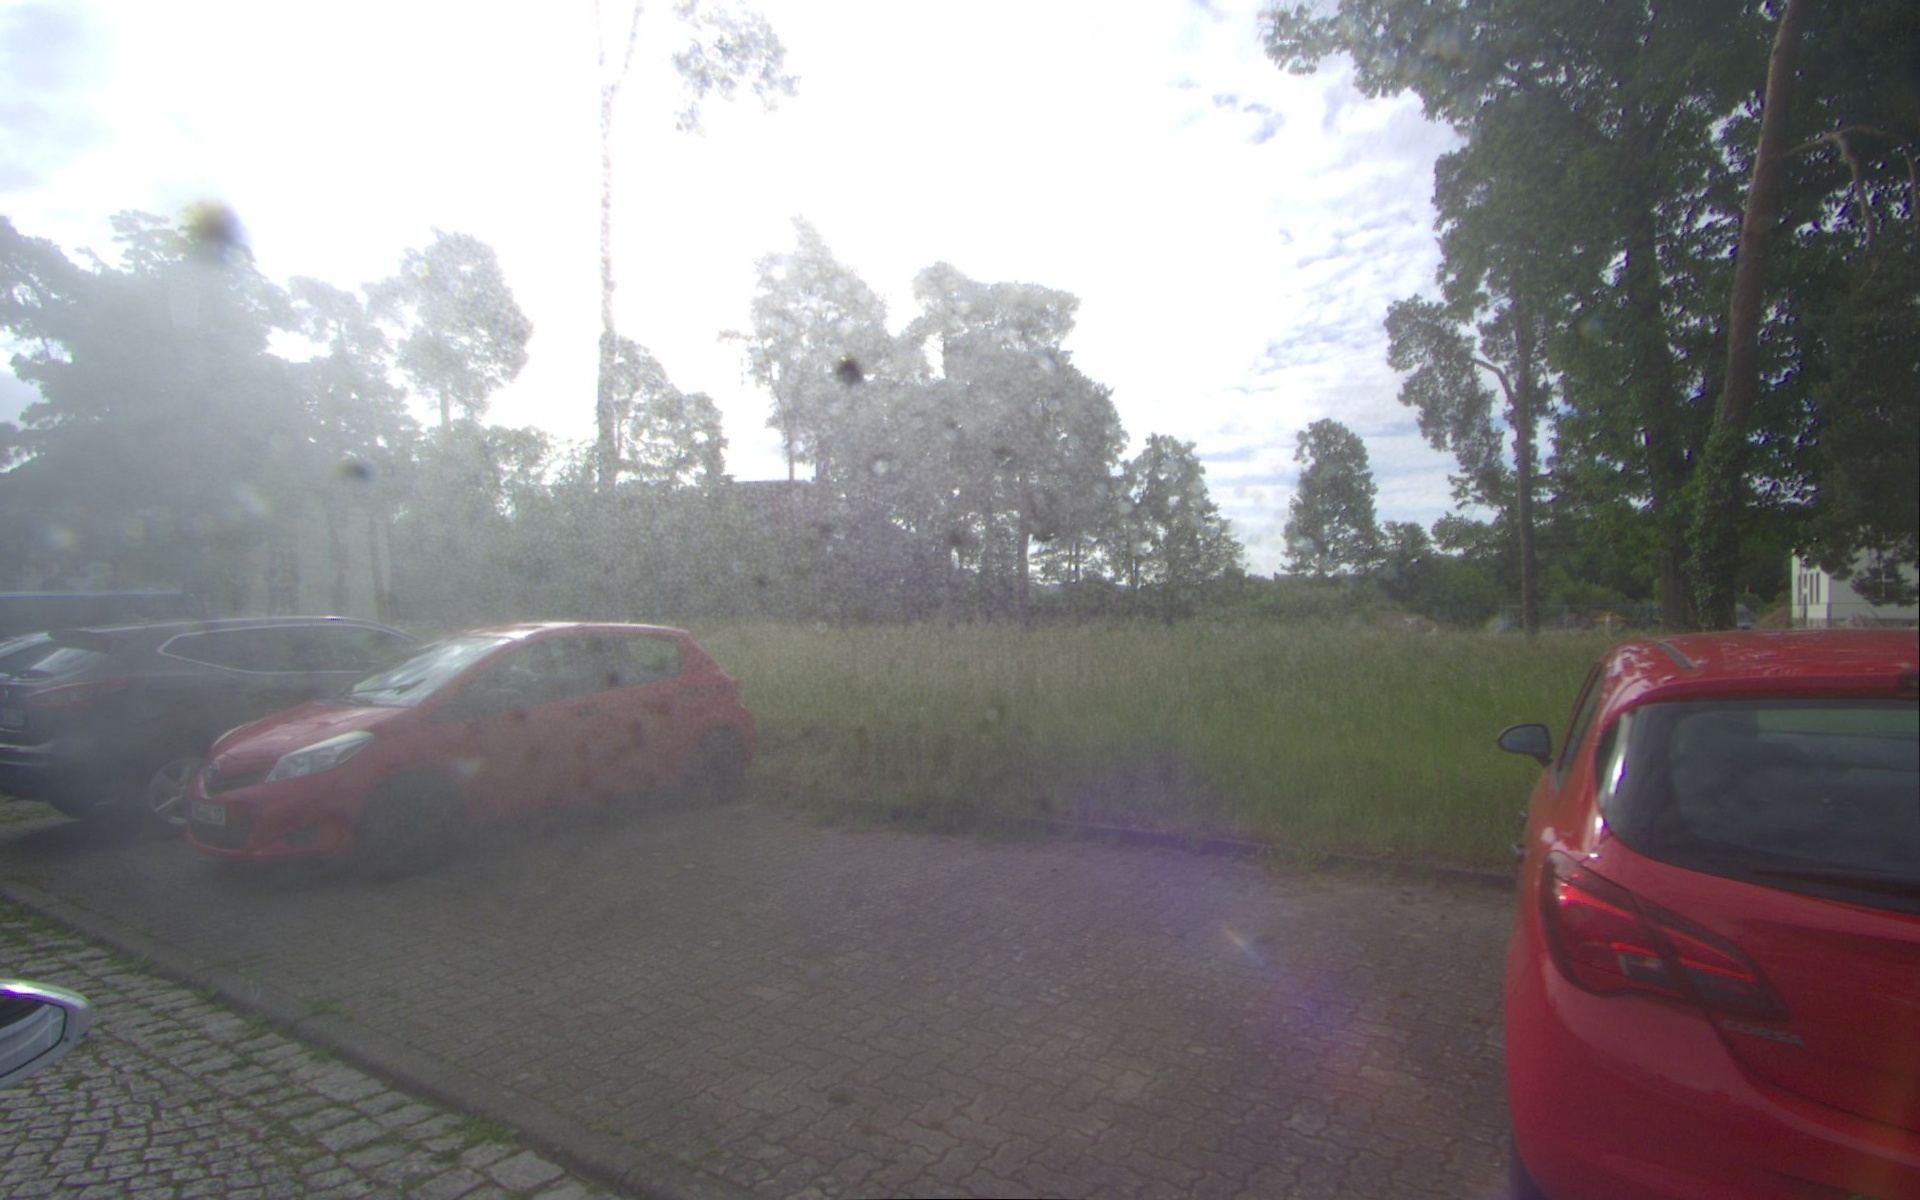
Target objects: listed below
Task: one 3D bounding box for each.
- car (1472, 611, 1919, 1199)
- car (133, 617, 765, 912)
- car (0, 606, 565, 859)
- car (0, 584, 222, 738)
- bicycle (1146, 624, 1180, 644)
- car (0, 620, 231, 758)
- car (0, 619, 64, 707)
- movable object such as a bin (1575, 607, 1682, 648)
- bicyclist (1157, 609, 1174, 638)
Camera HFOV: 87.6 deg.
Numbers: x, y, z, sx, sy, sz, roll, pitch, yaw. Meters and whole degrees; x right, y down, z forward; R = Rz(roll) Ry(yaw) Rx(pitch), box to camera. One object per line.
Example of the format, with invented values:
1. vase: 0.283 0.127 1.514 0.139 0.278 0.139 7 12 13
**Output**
1. car: 2.787 0.817 3.158 1.754 1.479 3.817 -1 0 32
2. car: -3.404 0.913 7.372 1.726 1.479 3.783 -1 0 33
3. car: -5.691 0.882 8.640 1.725 1.573 4.022 -1 0 30
4. car: -13.104 0.803 13.462 1.903 1.980 4.745 -1 0 31
5. bicycle: 12.330 2.059 60.740 1.906 1.244 0.721 -1 -1 34
6. car: -11.102 1.024 11.849 1.591 1.469 3.666 -1 0 30
7. car: -17.372 1.098 16.445 1.502 1.469 3.665 -1 0 31
8. movable object such as a bin: 45.856 1.877 68.886 2.140 2.689 5.960 1 -2 -23
9. bicyclist: 12.451 1.431 60.700 0.762 1.717 0.723 0 -1 34
